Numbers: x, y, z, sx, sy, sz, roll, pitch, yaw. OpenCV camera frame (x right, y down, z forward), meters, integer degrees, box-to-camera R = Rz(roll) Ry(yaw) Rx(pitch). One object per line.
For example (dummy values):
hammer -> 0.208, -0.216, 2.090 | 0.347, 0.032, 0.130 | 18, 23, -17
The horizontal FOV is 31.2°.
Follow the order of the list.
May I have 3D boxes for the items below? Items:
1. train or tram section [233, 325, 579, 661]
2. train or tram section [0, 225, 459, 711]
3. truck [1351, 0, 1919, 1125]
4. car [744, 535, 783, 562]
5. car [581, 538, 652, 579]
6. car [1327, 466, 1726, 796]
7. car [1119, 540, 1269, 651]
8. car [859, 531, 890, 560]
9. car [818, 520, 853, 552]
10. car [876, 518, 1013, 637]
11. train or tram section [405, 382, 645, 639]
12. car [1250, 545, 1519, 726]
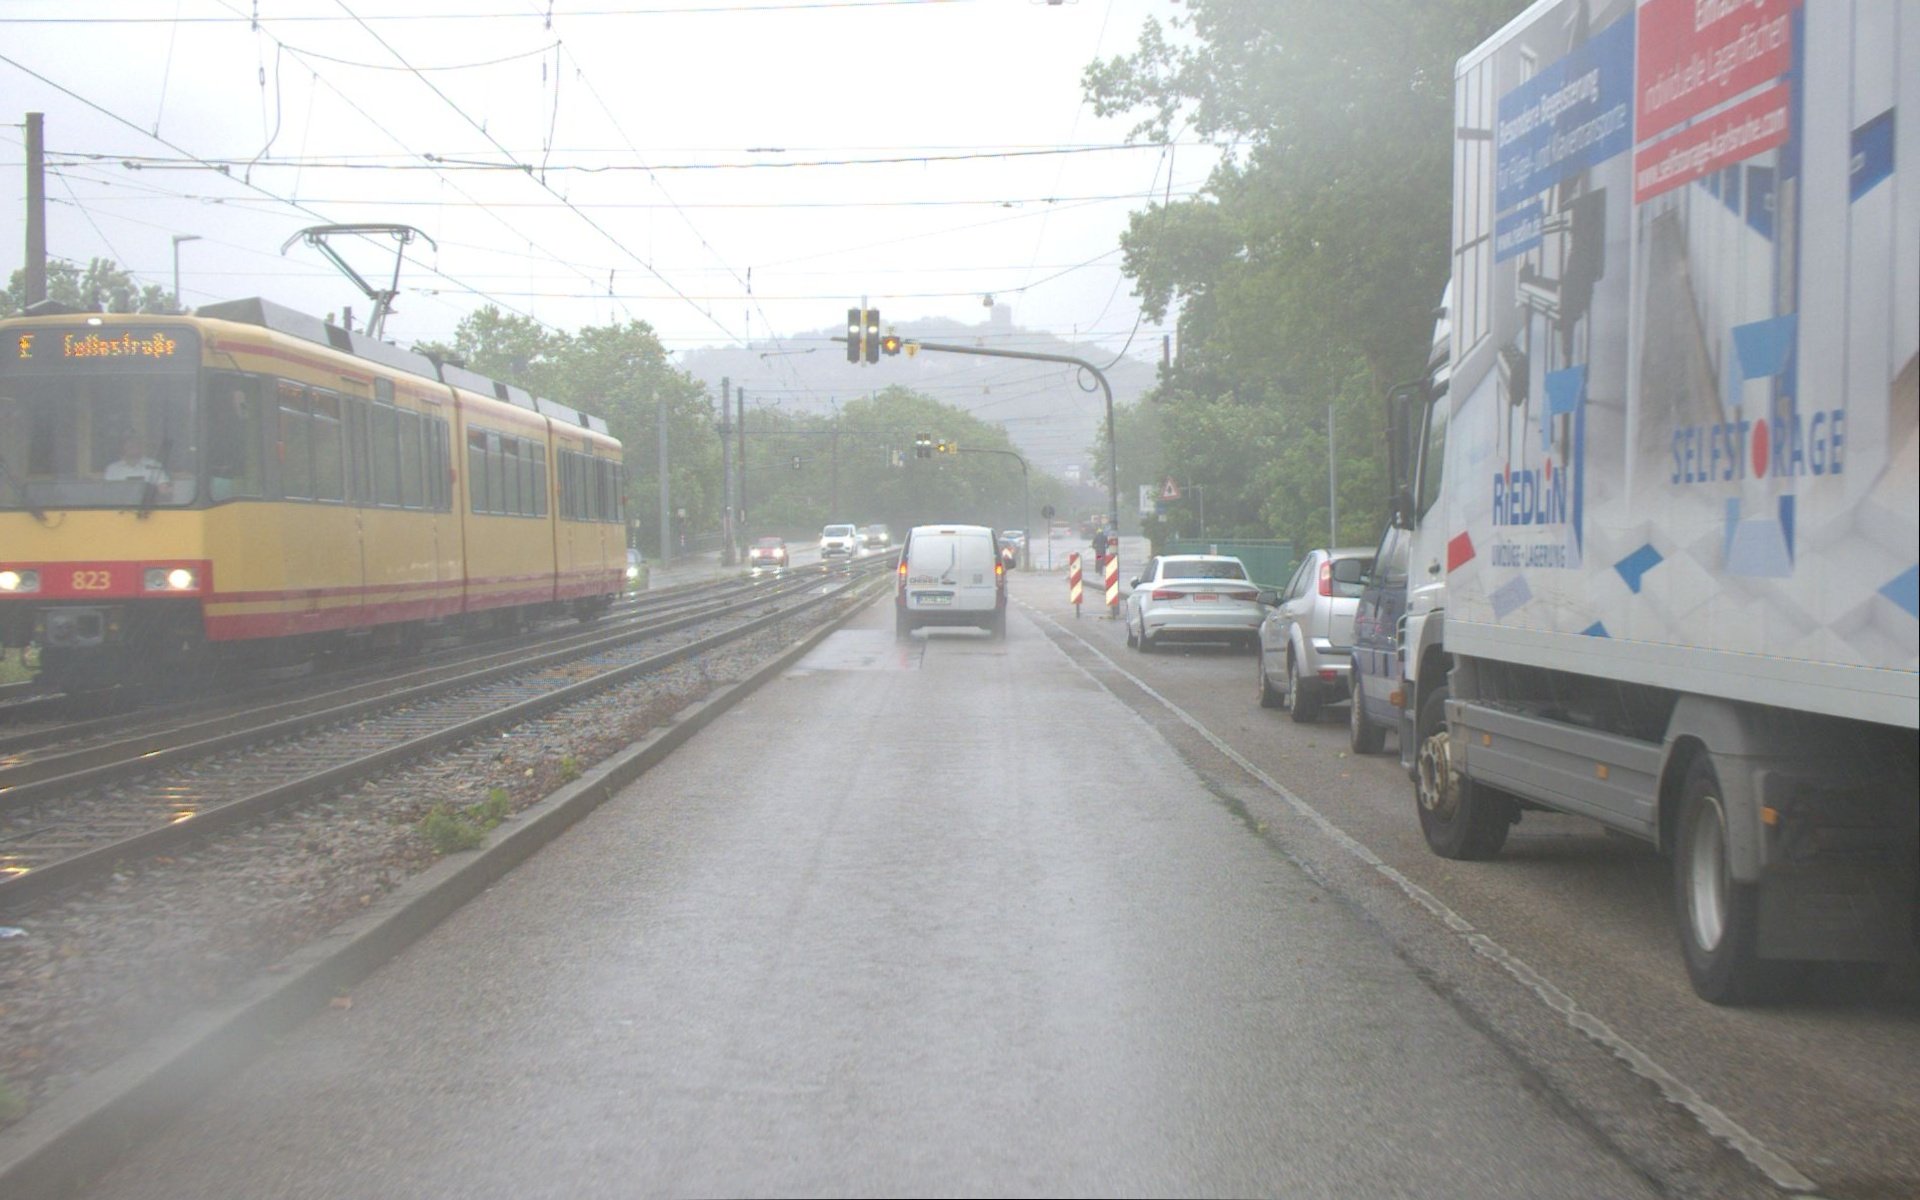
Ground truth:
train or tram section -> -7.548, -1.392, 48.854 | 2.806, 4.135, 13.019 | 0, 1, 0
train or tram section -> -7.606, -1.233, 35.808 | 2.806, 4.135, 13.020 | 0, 1, 0
truck -> 3.637, -0.549, 13.391 | 2.775, 3.691, 9.853 | 0, 0, -2
car -> -10.352, -2.718, 181.177 | 1.819, 1.393, 4.000 | -1, 1, 0
car -> -12.217, -1.496, 122.629 | 1.993, 1.399, 5.386 | -1, 1, 0
car -> 3.762, 0.146, 23.722 | 1.876, 2.007, 4.980 | 1, 1, 0
car -> 3.340, -0.102, 49.745 | 1.819, 1.481, 4.481 | 1, 1, 0
car -> -6.040, -3.843, 242.820 | 1.993, 1.941, 4.000 | 0, 0, 1
car -> -7.833, -4.028, 217.357 | 1.993, 2.007, 4.000 | 0, 0, 1
car -> -0.291, -0.376, 55.452 | 1.993, 1.842, 4.001 | 0, 1, -3
train or tram section -> -7.473, -1.472, 60.510 | 2.811, 4.135, 10.269 | 0, 0, 1
car -> 3.680, 0.272, 30.499 | 1.812, 1.454, 4.346 | 1, 0, 0
